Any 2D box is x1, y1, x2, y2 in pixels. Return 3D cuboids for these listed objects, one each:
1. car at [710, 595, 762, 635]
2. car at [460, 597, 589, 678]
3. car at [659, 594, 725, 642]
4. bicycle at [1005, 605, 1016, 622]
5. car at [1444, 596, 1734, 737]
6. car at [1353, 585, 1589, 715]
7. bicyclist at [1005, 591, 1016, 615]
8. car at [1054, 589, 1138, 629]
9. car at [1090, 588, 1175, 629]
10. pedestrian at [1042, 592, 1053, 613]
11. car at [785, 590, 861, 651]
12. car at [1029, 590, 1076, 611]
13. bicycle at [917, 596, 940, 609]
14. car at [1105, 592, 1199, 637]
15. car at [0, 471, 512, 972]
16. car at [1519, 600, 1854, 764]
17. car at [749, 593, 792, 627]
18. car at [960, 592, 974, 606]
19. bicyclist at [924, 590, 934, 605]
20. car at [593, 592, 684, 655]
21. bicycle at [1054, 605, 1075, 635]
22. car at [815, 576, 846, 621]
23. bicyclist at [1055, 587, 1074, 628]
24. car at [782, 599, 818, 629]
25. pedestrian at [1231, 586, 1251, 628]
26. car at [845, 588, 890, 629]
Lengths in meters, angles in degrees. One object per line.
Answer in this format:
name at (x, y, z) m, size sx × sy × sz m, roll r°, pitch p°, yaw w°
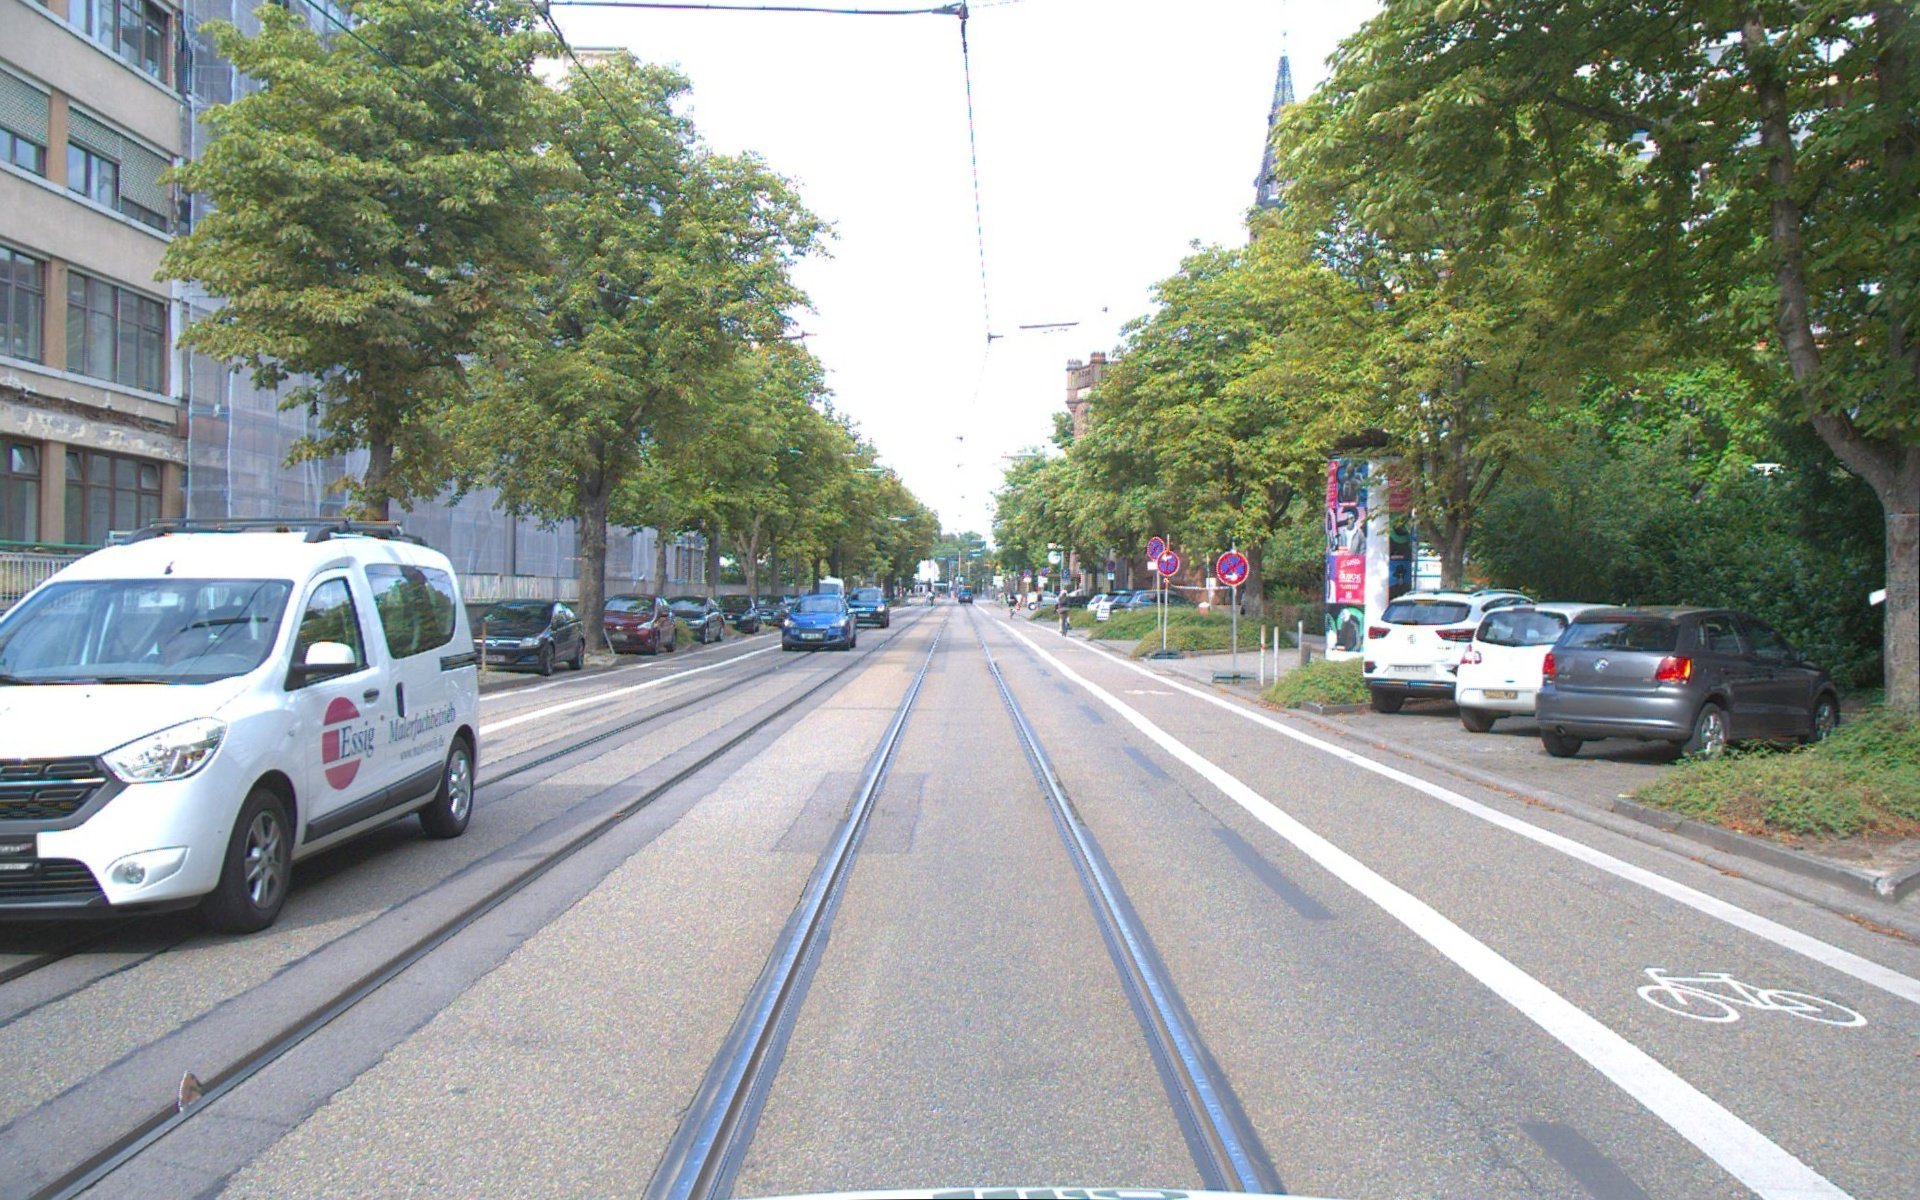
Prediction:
car at (-8.408, 0.544, 62.292) m, size 1.558 × 1.427 × 3.961 m, roll 1°, pitch 0°, yaw -2°
car at (-8.379, 0.682, 32.120) m, size 1.558 × 1.427 × 3.961 m, roll 1°, pitch 0°, yaw -2°
car at (-8.378, 0.541, 51.980) m, size 1.558 × 1.427 × 3.961 m, roll 1°, pitch 0°, yaw -2°
bicycle at (3.199, 0.832, 104.993) m, size 0.650 × 1.062 × 1.841 m, roll 1°, pitch 0°, yaw 0°
car at (7.436, 0.724, 19.438) m, size 3.612 × 1.500 × 1.658 m, roll 1°, pitch 0°, yaw -40°
car at (7.049, 0.639, 22.649) m, size 1.654 × 1.630 × 3.621 m, roll 0°, pitch 0°, yaw 44°
bicyclist at (3.213, 0.194, 104.997) m, size 0.645 × 1.522 × 0.929 m, roll 1°, pitch 0°, yaw 0°
car at (5.818, 0.395, 70.567) m, size 1.654 × 1.630 × 3.621 m, roll 0°, pitch 0°, yaw 44°
car at (7.154, 0.352, 68.493) m, size 1.654 × 1.630 × 3.621 m, roll 0°, pitch 0°, yaw 44°
pedestrian at (7.649, 0.245, 144.565) m, size 0.732 × 1.821 × 0.731 m, roll 1°, pitch -1°, yaw 15°
car at (-3.622, 0.501, 44.336) m, size 1.697 × 1.522 × 4.378 m, roll 0°, pitch 1°, yaw 0°
car at (8.084, 0.040, 144.873) m, size 3.910 × 1.722 × 1.998 m, roll 1°, pitch 0°, yaw -6°
bicycle at (-3.234, 0.251, 169.054) m, size 2.226 × 1.210 × 0.769 m, roll 1°, pitch 0°, yaw 7°
car at (7.196, 0.532, 61.739) m, size 1.654 × 1.630 × 3.621 m, roll 0°, pitch 0°, yaw 44°
car at (-3.785, 0.445, 8.546) m, size 1.696 × 1.917 × 4.378 m, roll 1°, pitch 0°, yaw 0°
car at (7.305, 0.748, 16.509) m, size 3.612 × 1.444 × 1.658 m, roll 1°, pitch 0°, yaw -40°
car at (-8.289, 0.439, 72.592) m, size 1.558 × 1.427 × 3.961 m, roll 1°, pitch 0°, yaw -2°
car at (0.906, -0.178, 222.781) m, size 1.758 × 1.855 × 4.677 m, roll 1°, pitch 0°, yaw -1°
bicyclist at (-3.163, -0.217, 169.042) m, size 0.828 × 1.531 × 0.769 m, roll 1°, pitch 0°, yaw 7°
car at (-8.262, 0.570, 42.781) m, size 1.602 × 1.522 × 3.962 m, roll 1°, pitch 0°, yaw -1°
bicycle at (3.824, 0.726, 60.526) m, size 0.581 × 1.062 × 1.977 m, roll 1°, pitch 0°, yaw -2°
car at (-8.319, -0.112, 106.361) m, size 1.686 × 2.751 × 5.468 m, roll 1°, pitch 0°, yaw -2°
bicyclist at (3.834, 0.268, 60.527) m, size 0.581 × 1.485 × 0.875 m, roll 1°, pitch 0°, yaw -2°
car at (-7.983, 0.682, 82.815) m, size 1.558 × 1.427 × 3.961 m, roll 1°, pitch 0°, yaw -2°
pedestrian at (12.776, 0.319, 75.182) m, size 0.769 × 1.858 × 0.662 m, roll 1°, pitch 0°, yaw 20°
car at (-3.877, 0.332, 69.670) m, size 1.697 × 1.657 × 4.377 m, roll -1°, pitch 0°, yaw -1°
